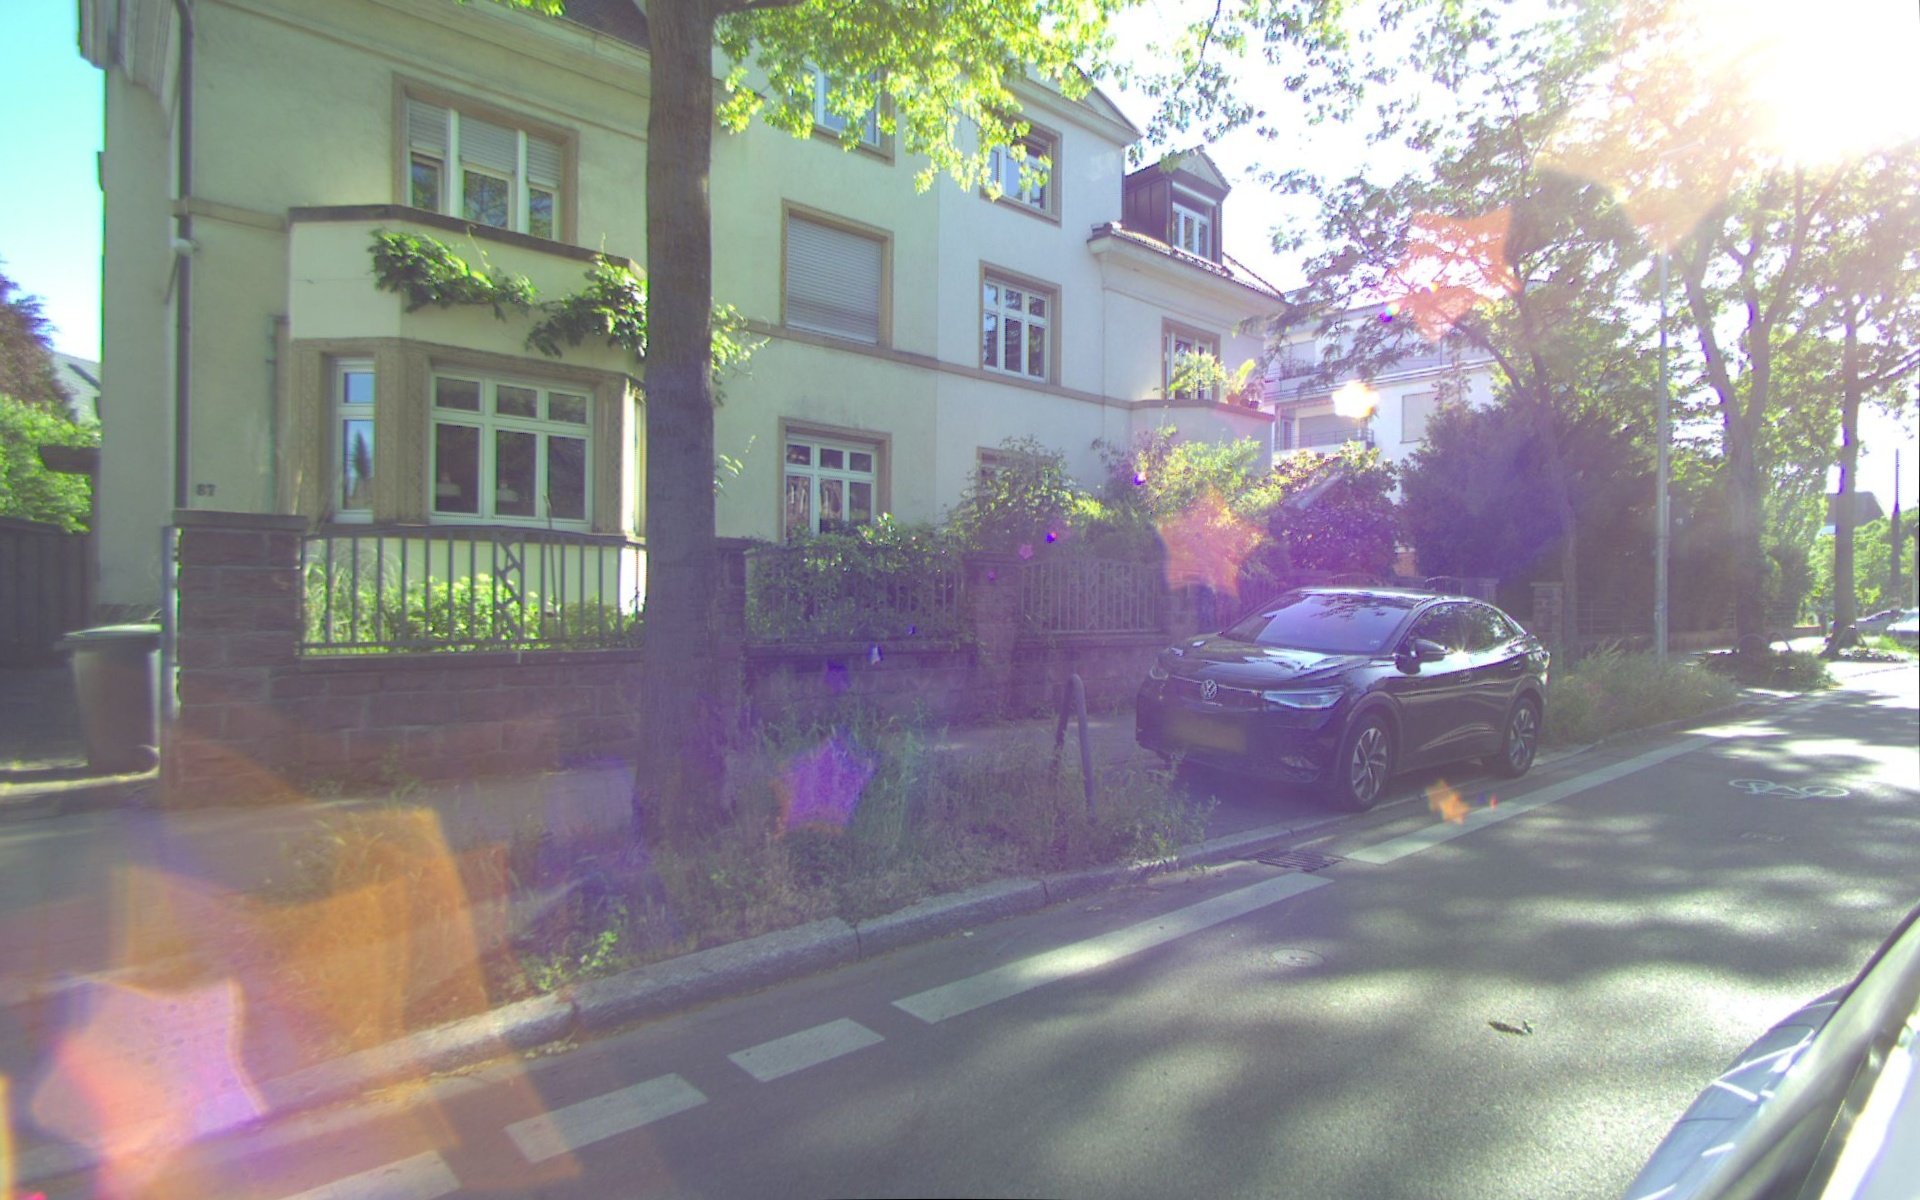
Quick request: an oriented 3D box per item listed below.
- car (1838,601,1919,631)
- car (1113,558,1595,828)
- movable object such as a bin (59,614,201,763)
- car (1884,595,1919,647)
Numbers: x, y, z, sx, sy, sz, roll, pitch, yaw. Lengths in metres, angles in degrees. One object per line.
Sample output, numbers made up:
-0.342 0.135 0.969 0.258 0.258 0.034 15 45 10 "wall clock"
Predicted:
45.050 0.760 48.260 1.932 1.386 4.522 0 1 -37 "car"
3.616 0.587 8.836 4.644 1.714 1.809 0 4 -39 "car"
-6.288 0.641 7.702 0.634 1.061 0.659 0 0 -19 "movable object such as a bin"
29.341 0.615 30.049 4.251 1.440 2.000 -1 1 -36 "car"
